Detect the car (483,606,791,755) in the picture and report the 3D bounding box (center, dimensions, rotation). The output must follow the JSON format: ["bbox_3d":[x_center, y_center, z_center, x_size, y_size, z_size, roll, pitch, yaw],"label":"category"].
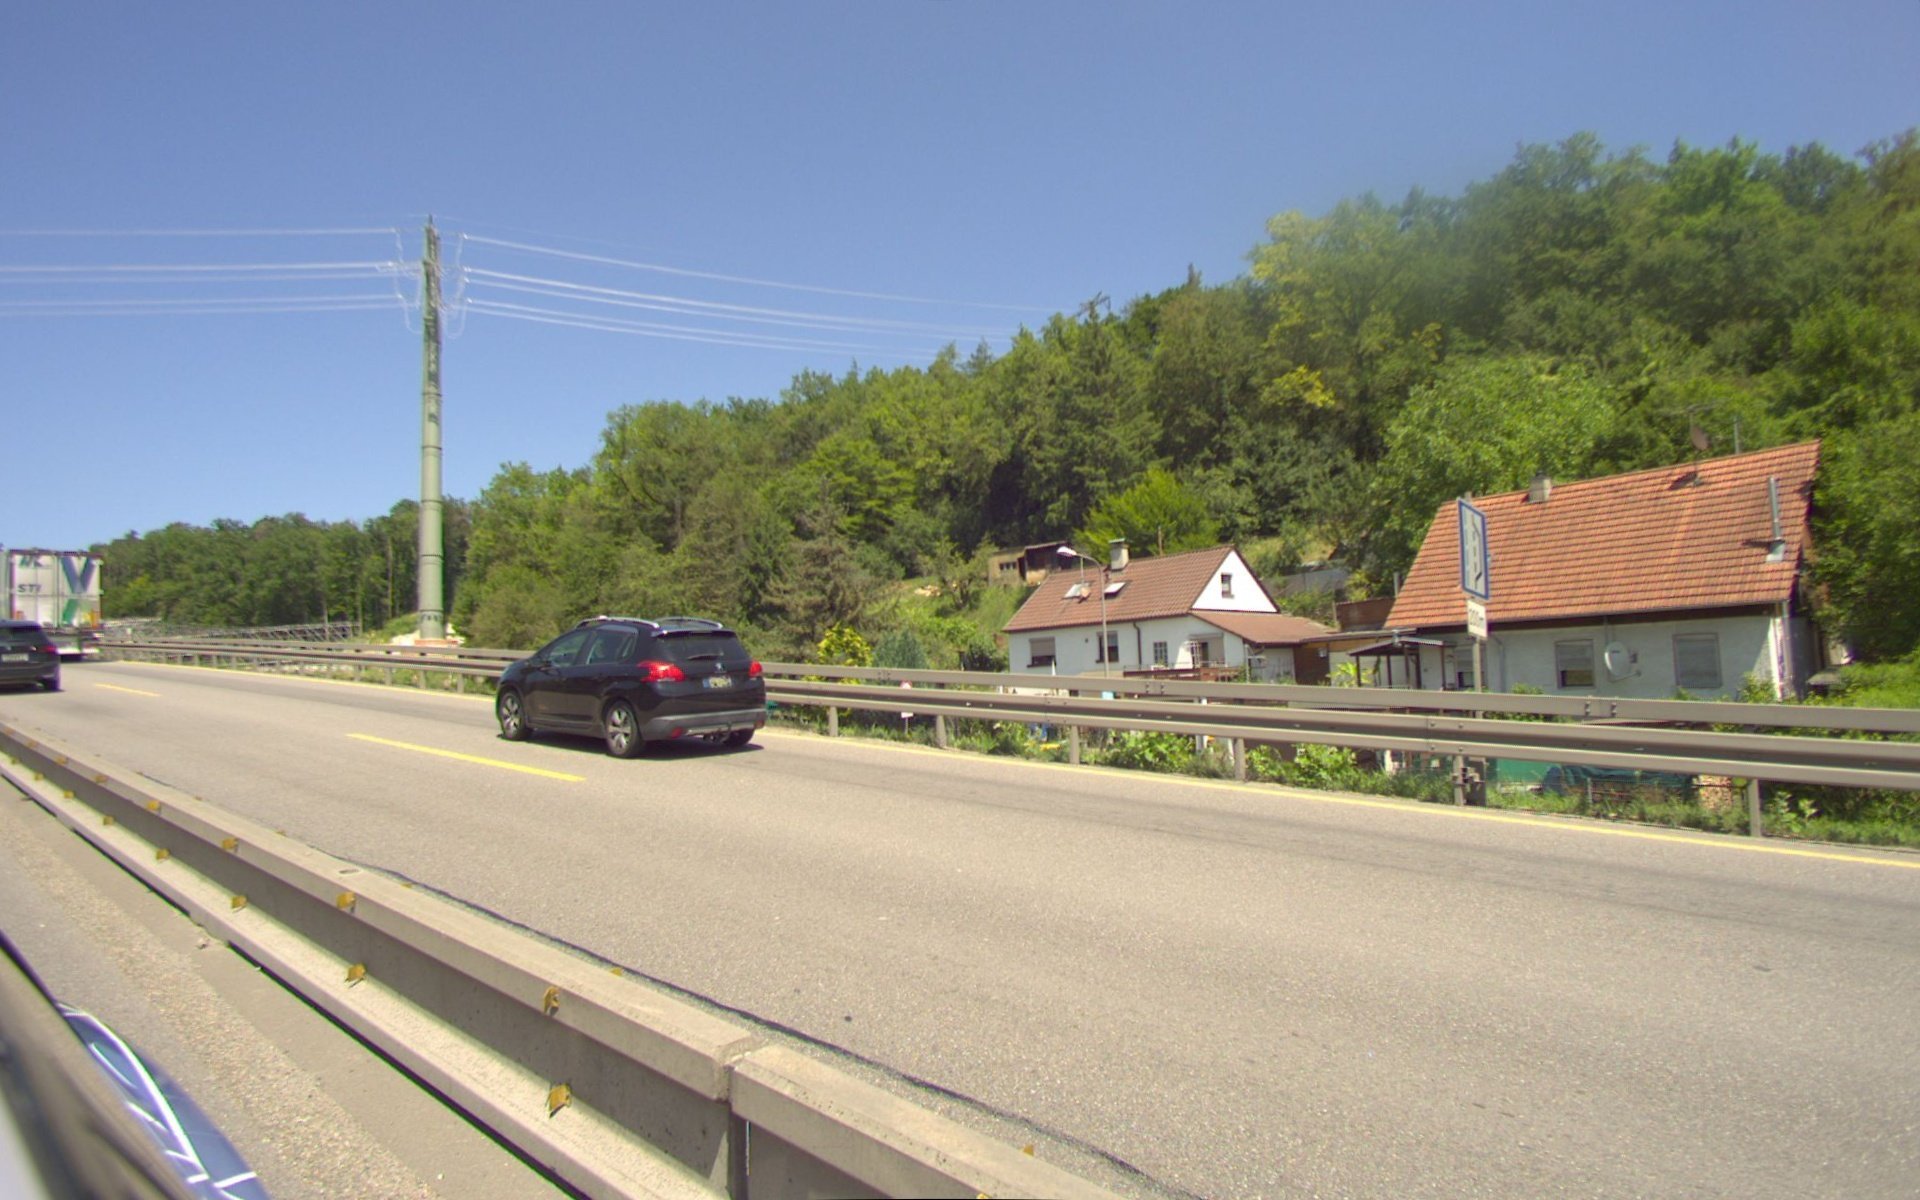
[{"bbox_3d":[-3.992,0.917,12.172,3.998,1.501,1.714,-4,-3,41],"label":"car"}]

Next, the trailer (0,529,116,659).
[{"bbox_3d":[-37.097,-0.132,39.886,14.042,4.411,3.220,-1,0,39],"label":"trailer"}]

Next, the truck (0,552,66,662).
[{"bbox_3d":[-41.473,0.322,43.395,8.290,4.395,3.272,-1,0,38],"label":"truck"}]

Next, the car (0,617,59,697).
[{"bbox_3d":[-21.065,1.201,21.913,4.157,1.598,1.801,-1,1,41],"label":"car"}]
